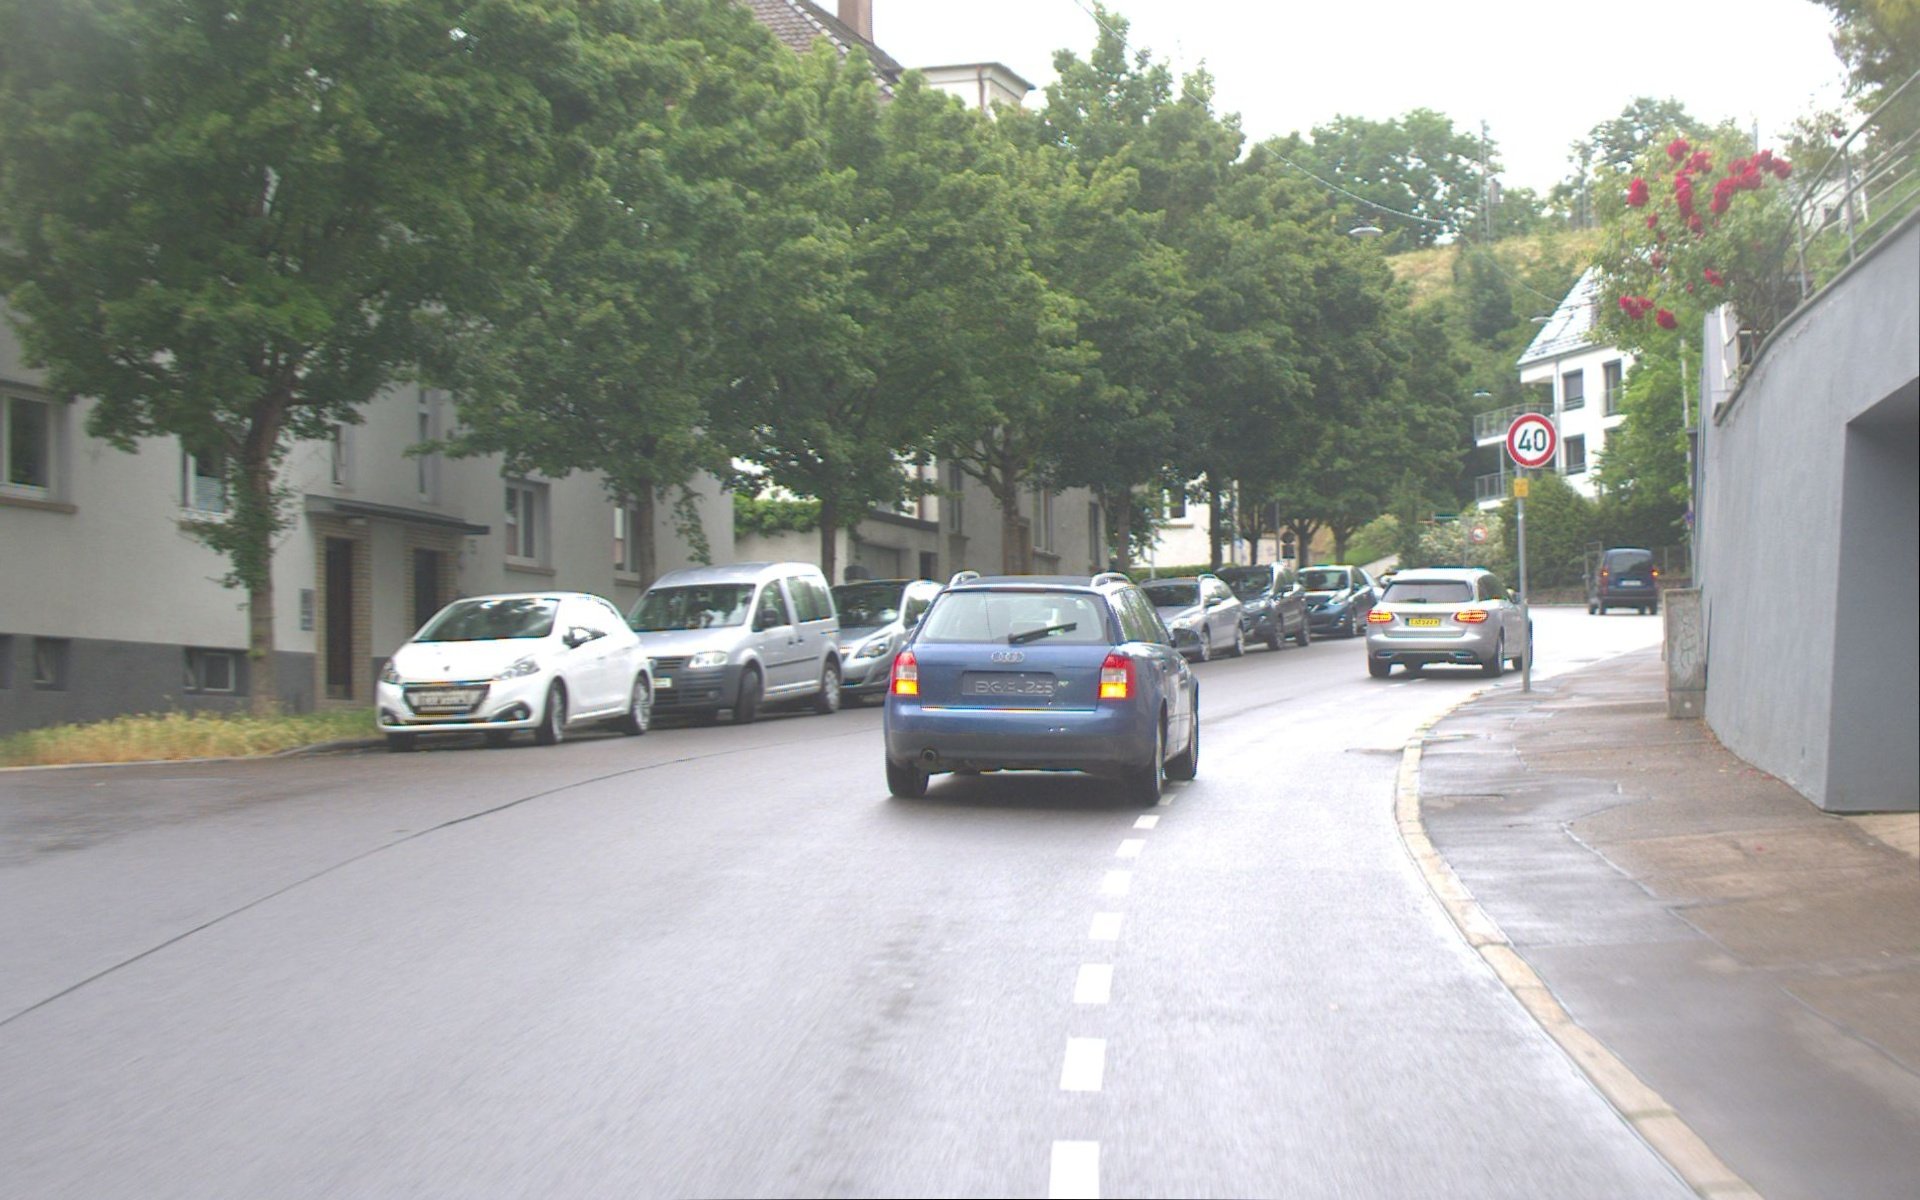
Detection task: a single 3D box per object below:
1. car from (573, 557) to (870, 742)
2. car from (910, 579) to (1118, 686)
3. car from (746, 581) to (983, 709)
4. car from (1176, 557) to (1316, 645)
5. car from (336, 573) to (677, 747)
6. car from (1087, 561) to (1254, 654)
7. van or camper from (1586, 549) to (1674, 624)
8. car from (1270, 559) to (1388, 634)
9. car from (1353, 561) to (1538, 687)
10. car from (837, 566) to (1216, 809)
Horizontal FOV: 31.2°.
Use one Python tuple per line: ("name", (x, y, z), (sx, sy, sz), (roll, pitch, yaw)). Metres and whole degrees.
("car", (-2.661, 0.558, 39.553), (1.915, 1.994, 4.544), (0, -1, 17))
("car", (0.834, 0.467, 49.367), (1.806, 1.448, 4.593), (0, -1, 16))
("car", (-1.170, 0.581, 44.318), (1.806, 1.481, 4.232), (-3, -1, 16))
("car", (5.491, 0.011, 65.612), (1.806, 1.621, 4.136), (0, 0, 17))
("car", (-4.348, 0.586, 33.678), (1.785, 1.509, 4.343), (-4, -2, 14))
("car", (3.716, 0.148, 59.870), (1.806, 1.547, 4.795), (0, -1, 17))
("van or camper", (19.014, -0.349, 97.423), (1.995, 2.007, 3.996), (0, -1, 18))
("car", (7.864, -0.100, 73.020), (1.714, 1.457, 3.878), (1, 2, 18))
("car", (6.734, 0.292, 47.331), (1.951, 1.556, 4.260), (3, 1, 15))
("car", (0.551, 0.510, 22.787), (1.854, 1.409, 4.360), (-1, 1, 10))
